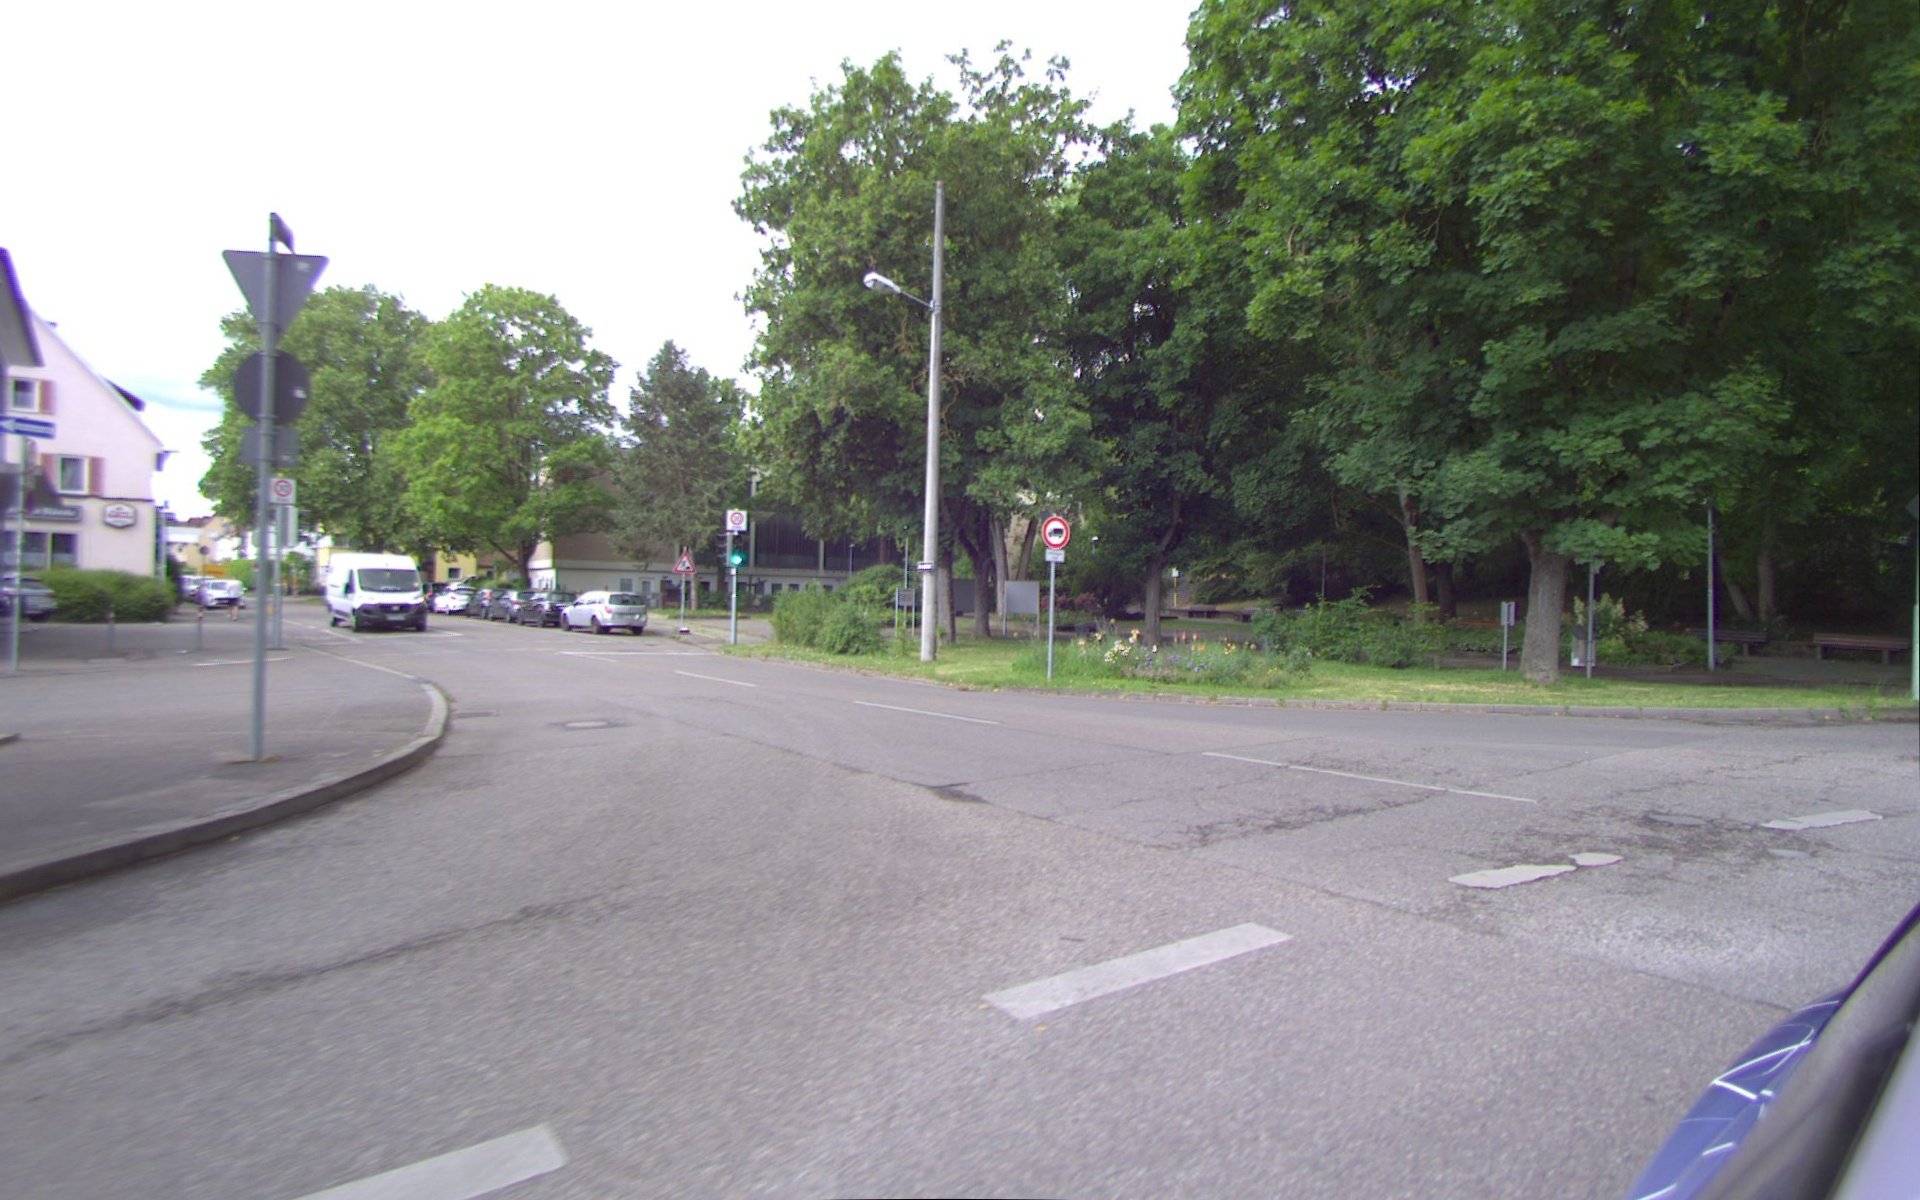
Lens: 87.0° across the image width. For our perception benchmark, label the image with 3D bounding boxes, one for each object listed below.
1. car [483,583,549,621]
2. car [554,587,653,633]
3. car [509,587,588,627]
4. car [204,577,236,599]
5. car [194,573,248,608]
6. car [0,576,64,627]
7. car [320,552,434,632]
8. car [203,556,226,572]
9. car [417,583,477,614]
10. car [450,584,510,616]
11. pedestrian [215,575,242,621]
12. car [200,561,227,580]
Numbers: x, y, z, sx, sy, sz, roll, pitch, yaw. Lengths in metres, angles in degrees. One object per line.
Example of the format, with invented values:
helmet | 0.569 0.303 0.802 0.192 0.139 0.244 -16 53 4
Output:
car | -19.328 0.074 44.001 1.681 1.505 3.756 1 1 -39
car | -12.704 0.327 35.899 1.866 1.474 4.541 1 1 -40
car | -16.418 0.255 40.291 1.769 1.474 3.954 1 1 -40
car | -71.511 -1.209 97.817 1.966 2.039 3.991 1 0 -43
car | -38.962 -0.508 53.320 1.906 1.749 3.774 1 1 -42
car | -29.127 0.004 30.561 3.392 1.481 1.563 1 0 17
car | -19.407 -0.294 33.514 2.294 2.422 5.952 1 1 -40
car | -95.167 -4.592 129.150 1.966 1.972 3.991 1 0 -43
car | -26.767 -0.101 52.726 1.891 1.474 4.397 1 1 -40
car | -22.633 -0.034 47.684 1.708 1.408 3.737 1 1 -40
pedestrian | -27.386 -0.078 37.891 0.744 1.718 0.645 1 0 -43
car | -83.069 -3.246 112.600 1.966 2.039 3.991 1 0 -43
